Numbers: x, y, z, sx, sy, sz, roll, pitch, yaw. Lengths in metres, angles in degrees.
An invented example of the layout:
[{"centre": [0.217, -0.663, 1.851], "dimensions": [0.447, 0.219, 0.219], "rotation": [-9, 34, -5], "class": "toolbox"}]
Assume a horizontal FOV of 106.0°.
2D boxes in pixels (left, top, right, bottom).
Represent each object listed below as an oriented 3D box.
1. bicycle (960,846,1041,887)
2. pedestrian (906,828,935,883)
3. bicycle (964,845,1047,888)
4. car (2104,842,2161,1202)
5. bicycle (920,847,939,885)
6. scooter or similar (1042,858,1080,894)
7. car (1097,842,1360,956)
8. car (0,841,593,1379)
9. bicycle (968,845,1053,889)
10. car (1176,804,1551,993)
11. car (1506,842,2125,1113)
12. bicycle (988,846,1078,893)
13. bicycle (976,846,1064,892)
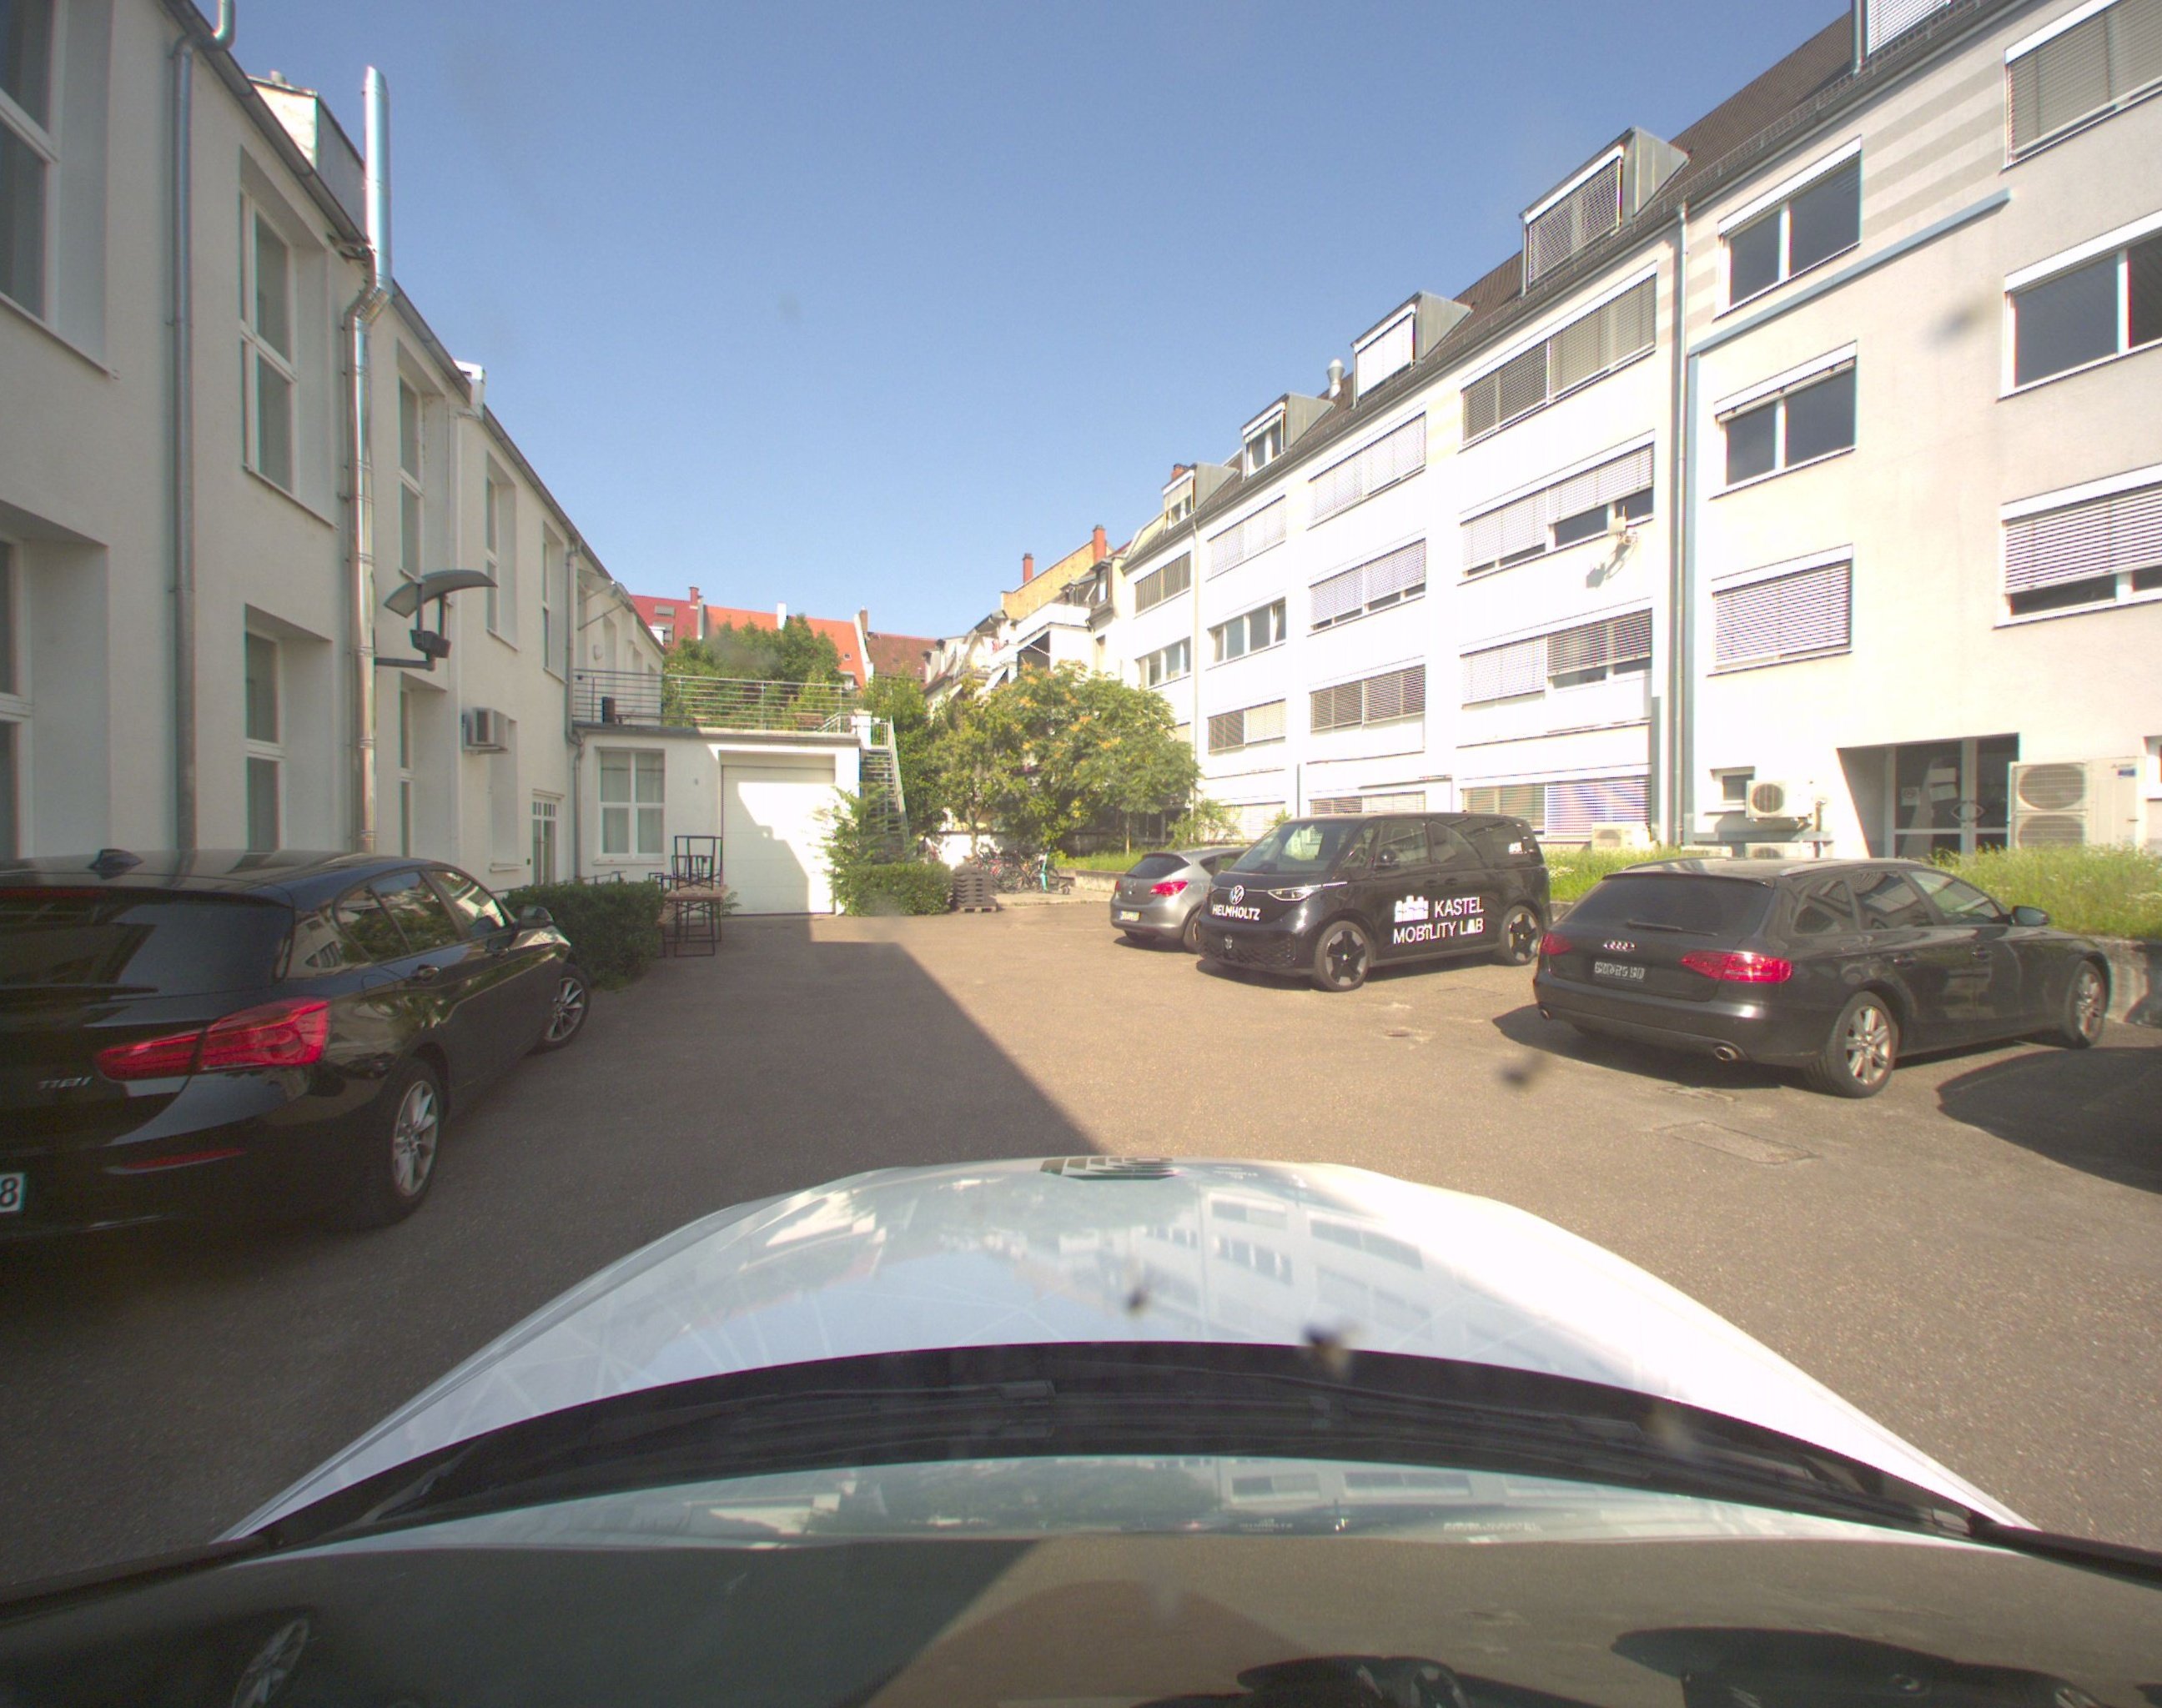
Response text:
[{"centre": [-2.472, 0.379, 25.003], "dimensions": [2.418, 1.246, 0.523], "rotation": [0, 1, -20], "class": "bicycle"}, {"centre": [-5.192, 0.048, 26.320], "dimensions": [0.857, 1.771, 0.609], "rotation": [1, 0, -8], "class": "pedestrian"}, {"centre": [-2.265, 0.363, 24.487], "dimensions": [2.418, 1.246, 0.523], "rotation": [0, 1, -20], "class": "bicycle"}, {"centre": [6.590, 0.681, 3.535], "dimensions": [4.065, 1.478, 1.729], "rotation": [-1, 1, -24], "class": "car"}, {"centre": [-4.866, 0.358, 26.251], "dimensions": [0.488, 1.143, 1.988], "rotation": [-1, 2, -8], "class": "bicycle"}, {"centre": [-0.554, 0.592, 22.262], "dimensions": [0.986, 0.924, 0.362], "rotation": [1, 1, 33], "class": "scooter or similar"}, {"centre": [2.327, 0.563, 12.511], "dimensions": [3.923, 1.466, 1.646], "rotation": [-1, 1, -33], "class": "car"}, {"centre": [-3.836, 0.661, 4.017], "dimensions": [1.800, 1.428, 4.106], "rotation": [0, 1, -22], "class": "car"}, {"centre": [-2.051, 0.384, 23.786], "dimensions": [2.418, 1.246, 0.523], "rotation": [0, 1, -20], "class": "bicycle"}, {"centre": [3.480, 0.389, 9.892], "dimensions": [4.361, 1.858, 1.897], "rotation": [-1, 1, -29], "class": "car"}, {"centre": [5.421, 0.655, 6.019], "dimensions": [4.248, 1.437, 1.679], "rotation": [-1, 1, -21], "class": "car"}, {"centre": [-1.315, 0.417, 22.451], "dimensions": [2.418, 1.246, 0.523], "rotation": [0, 1, -20], "class": "bicycle"}, {"centre": [-1.723, 0.411, 23.025], "dimensions": [2.418, 1.246, 0.523], "rotation": [0, 1, -20], "class": "bicycle"}]
